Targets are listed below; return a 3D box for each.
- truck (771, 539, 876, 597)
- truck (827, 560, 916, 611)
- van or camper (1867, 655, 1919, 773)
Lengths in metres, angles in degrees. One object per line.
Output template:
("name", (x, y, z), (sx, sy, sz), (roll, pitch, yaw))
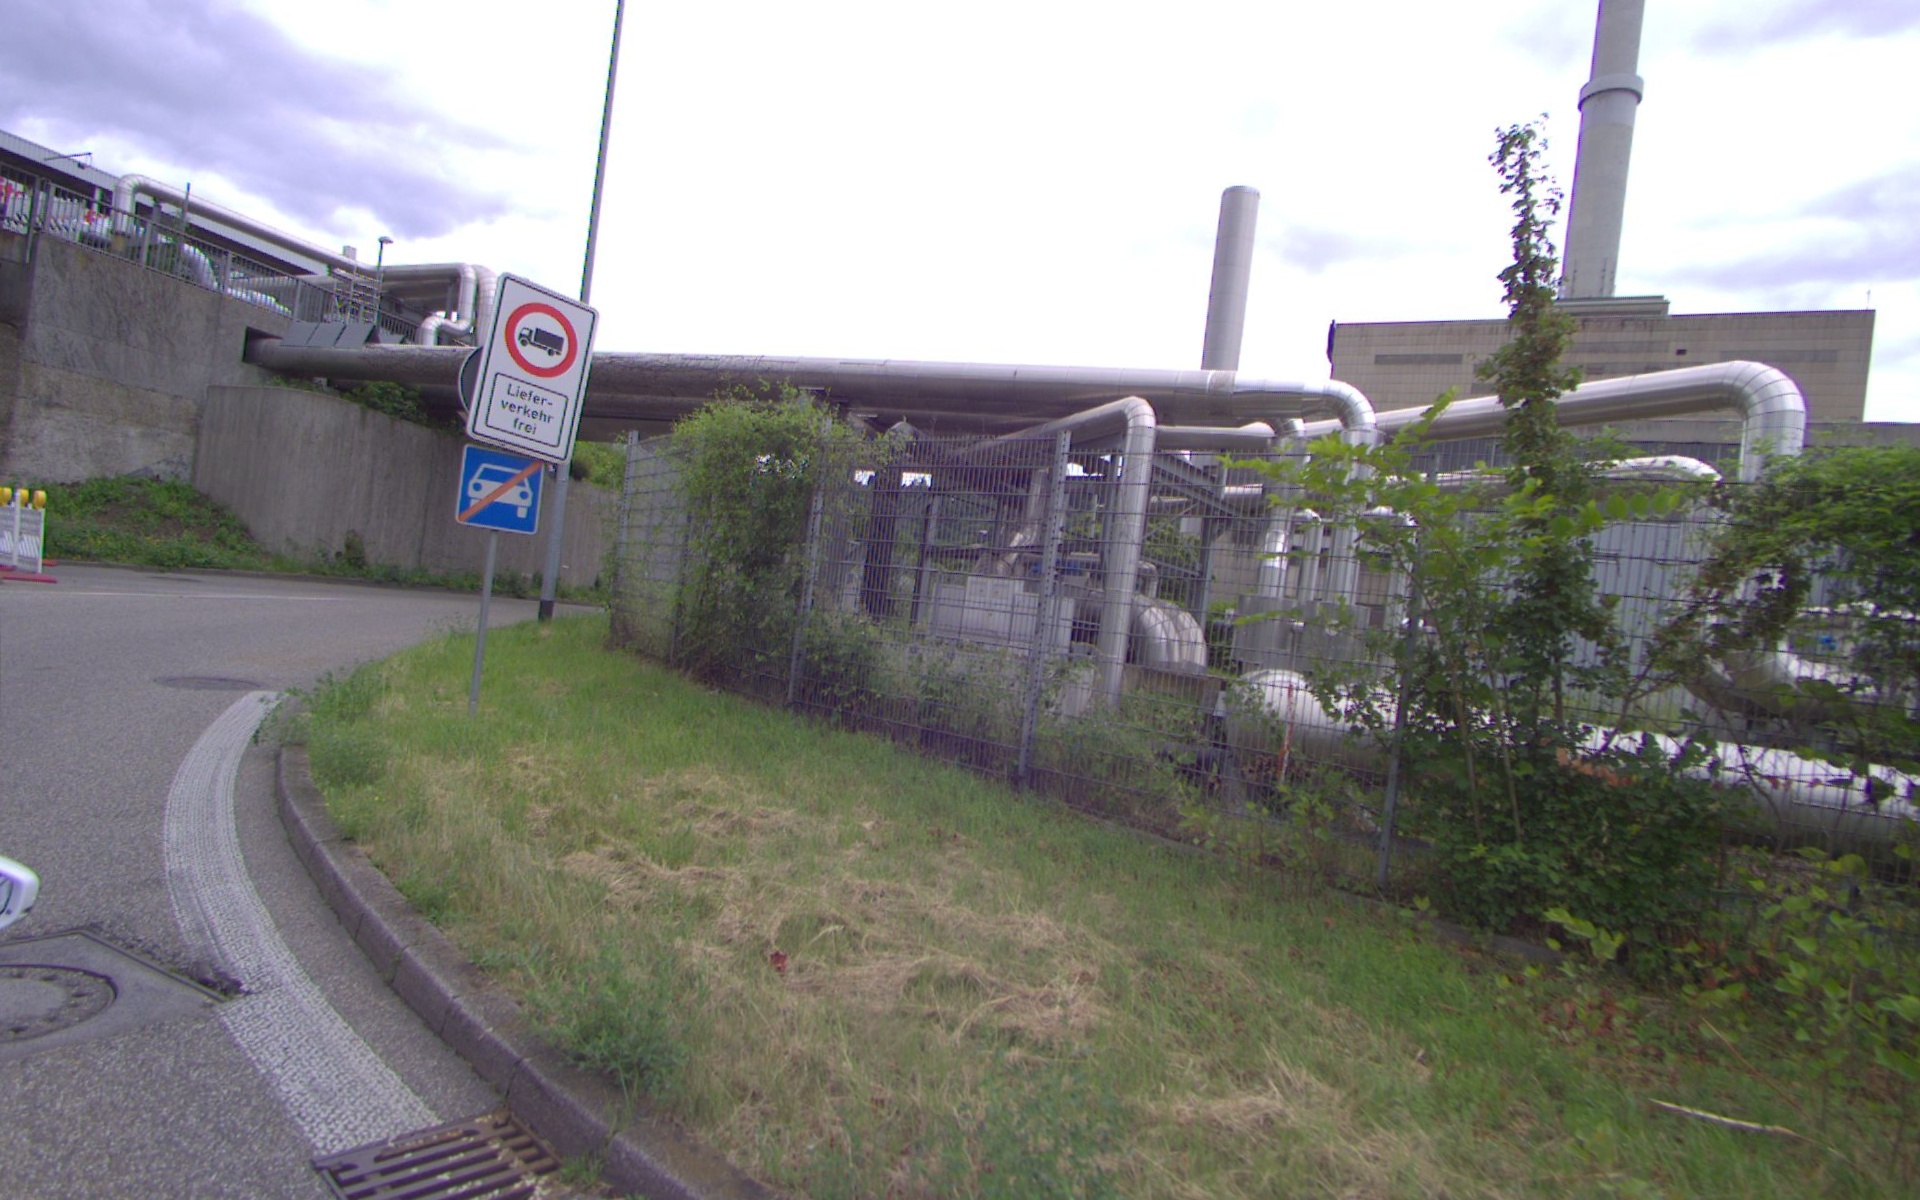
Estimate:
("truck", (-11.534, -2.642, 85.086), (8.042, 3.577, 3.042), (9, -3, -19))
("truck", (-8.449, -1.317, 96.102), (7.746, 3.577, 3.046), (9, -3, -14))
("van or camper", (22.002, 2.591, 21.341), (2.532, 2.578, 6.119), (7, -1, 29))
